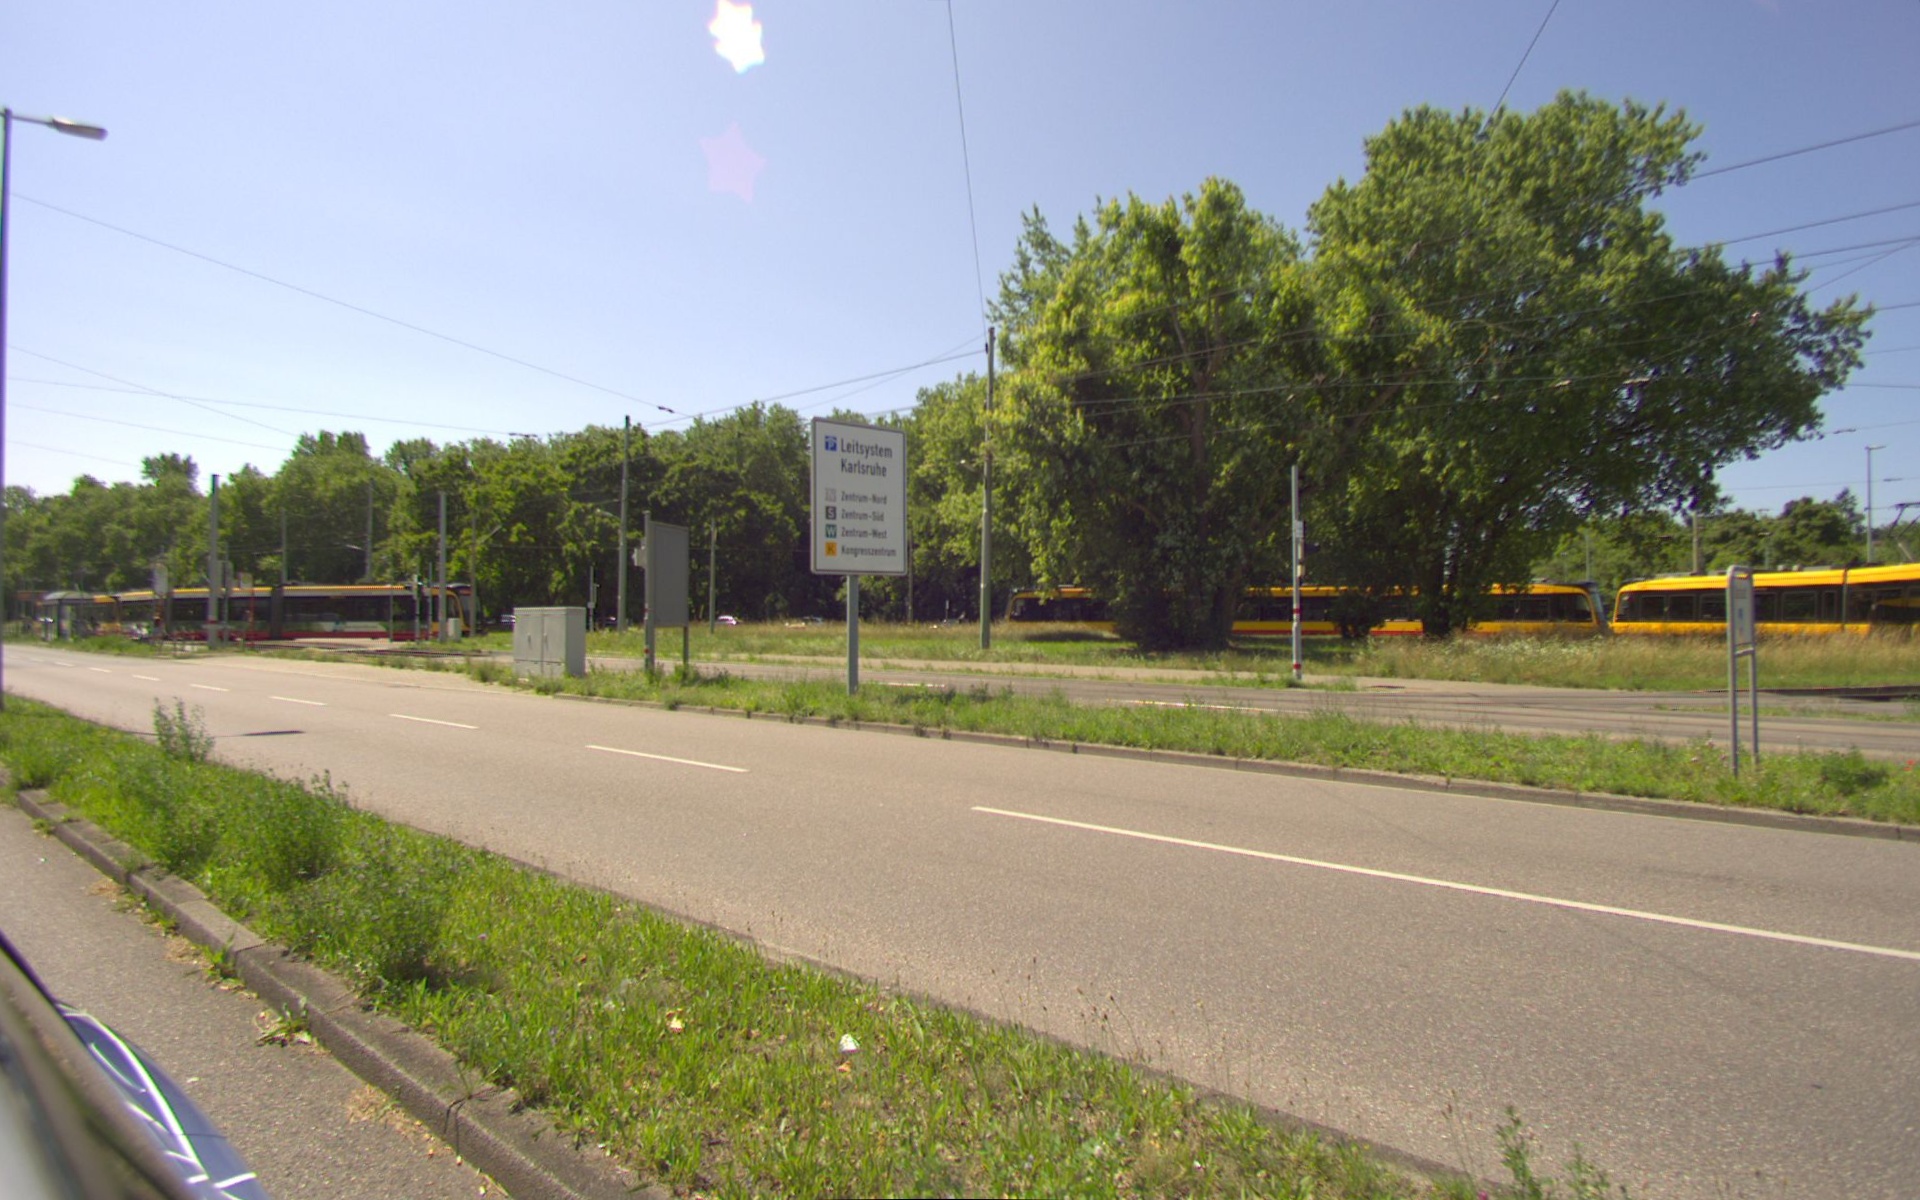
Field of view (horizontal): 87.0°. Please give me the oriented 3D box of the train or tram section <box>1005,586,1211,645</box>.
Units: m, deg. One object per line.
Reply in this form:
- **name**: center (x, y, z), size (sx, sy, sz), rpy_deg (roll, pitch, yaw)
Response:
- **train or tram section**: center (9.553, 1.035, 66.687), size (13.091, 3.492, 3.043), rpy_deg (-1, 0, 3)

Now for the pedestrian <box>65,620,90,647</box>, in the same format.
- **pedestrian**: center (-51.866, 1.968, 59.462), size (0.984, 1.558, 0.922), rpy_deg (-2, 0, 38)

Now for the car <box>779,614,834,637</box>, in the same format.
- **car**: center (-12.530, 2.084, 82.688), size (3.972, 1.741, 1.986), rpy_deg (-1, 0, 22)

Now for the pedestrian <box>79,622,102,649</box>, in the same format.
- **pedestrian**: center (-50.780, 2.058, 59.111), size (0.878, 1.519, 0.826), rpy_deg (-2, 0, 38)

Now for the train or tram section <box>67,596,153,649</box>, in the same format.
- **train or tram section**: center (-66.920, 1.761, 79.491), size (13.252, 3.795, 3.012), rpy_deg (-1, 0, 41)

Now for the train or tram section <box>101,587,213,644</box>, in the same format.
- **train or tram section**: center (-56.386, 1.100, 70.859), size (13.879, 3.652, 3.014), rpy_deg (-1, 0, 38)

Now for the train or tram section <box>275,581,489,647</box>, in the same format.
- **train or tram section**: center (-34.740, 0.864, 60.839), size (12.326, 3.652, 3.041), rpy_deg (-1, 0, 13)

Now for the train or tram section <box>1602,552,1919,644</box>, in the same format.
- **train or tram section**: center (35.168, -0.049, 45.503), size (2.998, 3.492, 12.773), rpy_deg (-1, 0, -8)

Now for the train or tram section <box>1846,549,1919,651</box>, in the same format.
- **train or tram section**: center (34.203, -0.042, 33.954), size (3.023, 3.492, 10.158), rpy_deg (-1, 0, 19)

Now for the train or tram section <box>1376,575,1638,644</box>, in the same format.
- **train or tram section**: center (30.568, 0.568, 57.402), size (3.000, 3.492, 12.763), rpy_deg (-1, 0, -43)

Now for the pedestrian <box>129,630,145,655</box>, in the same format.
- **pedestrian**: center (-39.909, 2.055, 49.087), size (0.400, 1.198, 0.490), rpy_deg (-2, 0, 35)

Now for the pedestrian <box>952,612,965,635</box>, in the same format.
- **pedestrian**: center (-0.098, 1.617, 69.749), size (0.778, 1.586, 0.692), rpy_deg (-1, 0, -6)

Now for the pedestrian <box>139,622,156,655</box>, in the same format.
- **pedestrian**: center (-39.078, 1.858, 48.680), size (0.582, 1.577, 0.529), rpy_deg (-2, 0, 39)

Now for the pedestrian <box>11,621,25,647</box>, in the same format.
- **pedestrian**: center (-67.307, 2.405, 72.330), size (0.775, 1.804, 0.626), rpy_deg (-2, 0, 38)

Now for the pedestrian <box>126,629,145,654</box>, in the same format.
- **pedestrian**: center (-40.297, 2.017, 49.452), size (0.535, 1.198, 0.576), rpy_deg (-2, 0, 35)

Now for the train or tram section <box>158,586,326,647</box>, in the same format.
- **train or tram section**: center (-45.855, 1.102, 64.481), size (12.380, 3.652, 3.028), rpy_deg (-1, 0, 25)

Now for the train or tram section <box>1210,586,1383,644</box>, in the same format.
- **train or tram section**: center (21.406, 0.971, 64.636), size (10.169, 3.492, 3.019), rpy_deg (-1, 0, 26)

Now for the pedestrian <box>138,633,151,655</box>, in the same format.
- **pedestrian**: center (-39.468, 2.125, 48.984), size (0.377, 1.066, 0.379), rpy_deg (-2, 0, 38)
